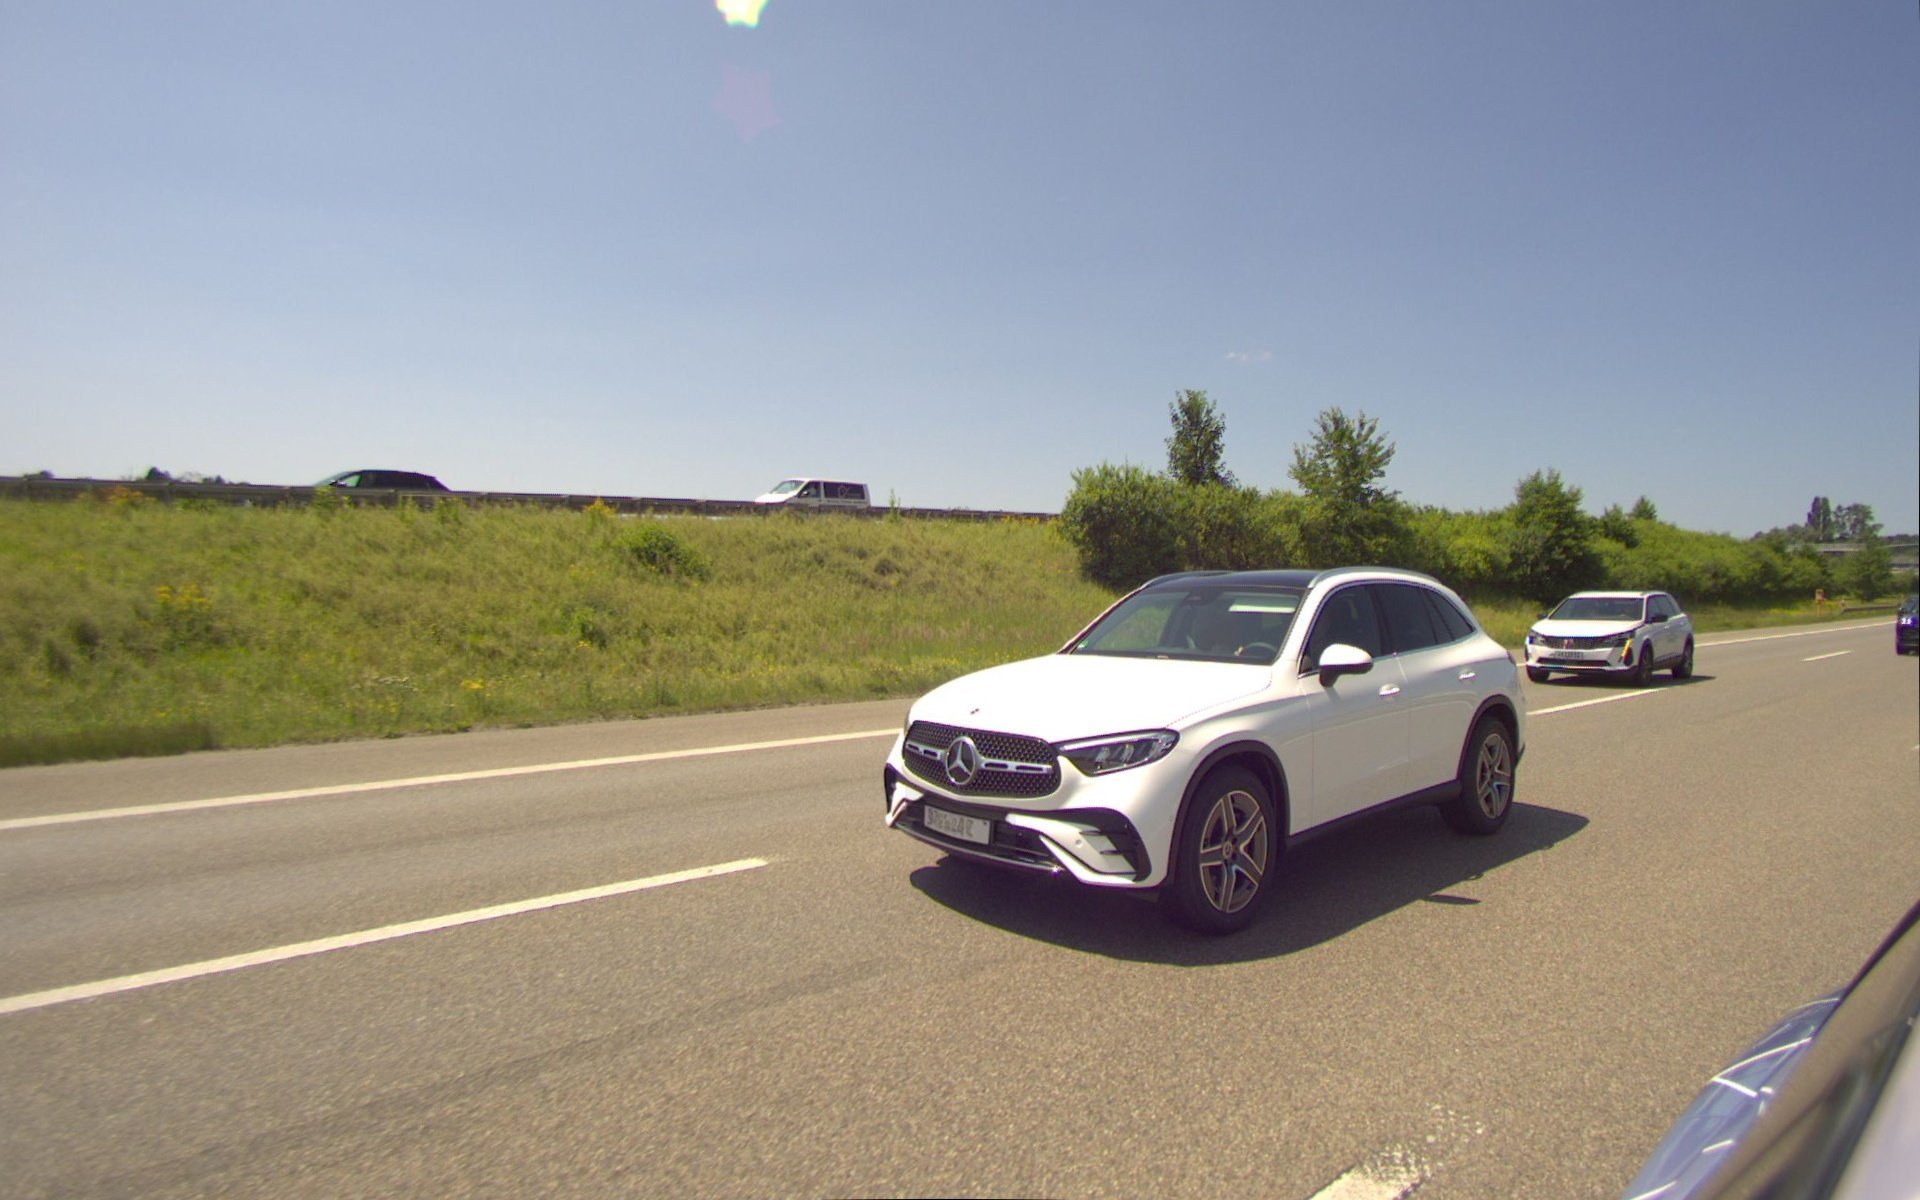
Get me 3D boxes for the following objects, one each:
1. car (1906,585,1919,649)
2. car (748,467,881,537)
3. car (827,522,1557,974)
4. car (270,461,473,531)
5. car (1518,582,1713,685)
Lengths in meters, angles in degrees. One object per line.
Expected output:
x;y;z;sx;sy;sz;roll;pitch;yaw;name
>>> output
27.028;0.412;27.220;4.539;1.650;1.980;-1;0;-43;car
-5.417;-3.608;38.133;1.992;2.199;4.819;1;0;42;car
1.646;0.544;5.984;4.555;1.677;1.908;0;0;-41;car
-15.329;-2.637;26.509;1.993;1.400;4.231;1;1;42;car
12.130;0.512;18.602;4.538;1.650;1.896;-1;0;-42;car
